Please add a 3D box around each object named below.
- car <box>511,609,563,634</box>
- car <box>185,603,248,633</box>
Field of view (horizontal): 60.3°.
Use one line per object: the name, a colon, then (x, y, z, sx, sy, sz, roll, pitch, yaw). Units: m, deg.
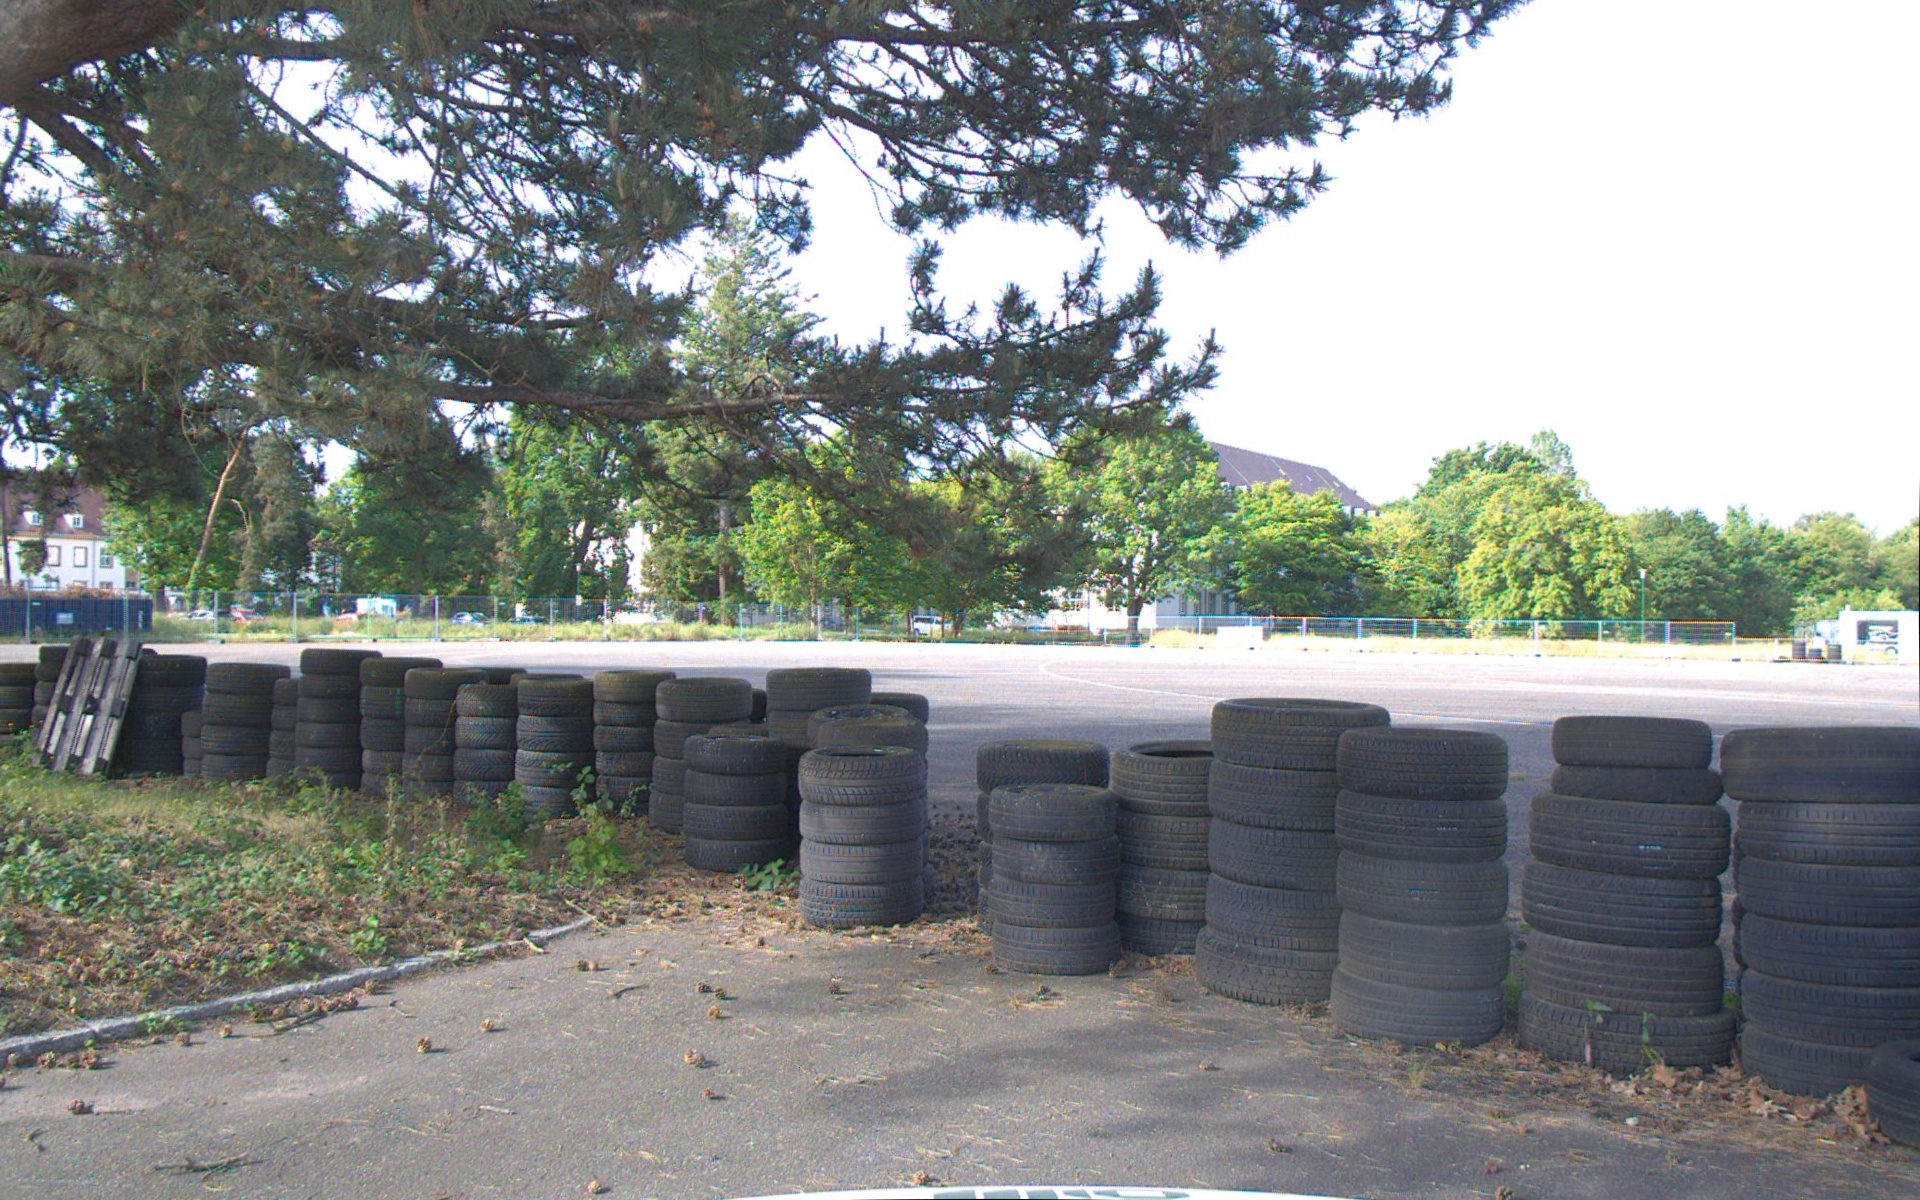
car: (-31.325, 1.569, 122.510, 3.932, 1.780, 1.986, 0, -1, 44)
car: (-45.629, 1.076, 101.464, 3.924, 1.780, 1.990, 0, -1, 39)
